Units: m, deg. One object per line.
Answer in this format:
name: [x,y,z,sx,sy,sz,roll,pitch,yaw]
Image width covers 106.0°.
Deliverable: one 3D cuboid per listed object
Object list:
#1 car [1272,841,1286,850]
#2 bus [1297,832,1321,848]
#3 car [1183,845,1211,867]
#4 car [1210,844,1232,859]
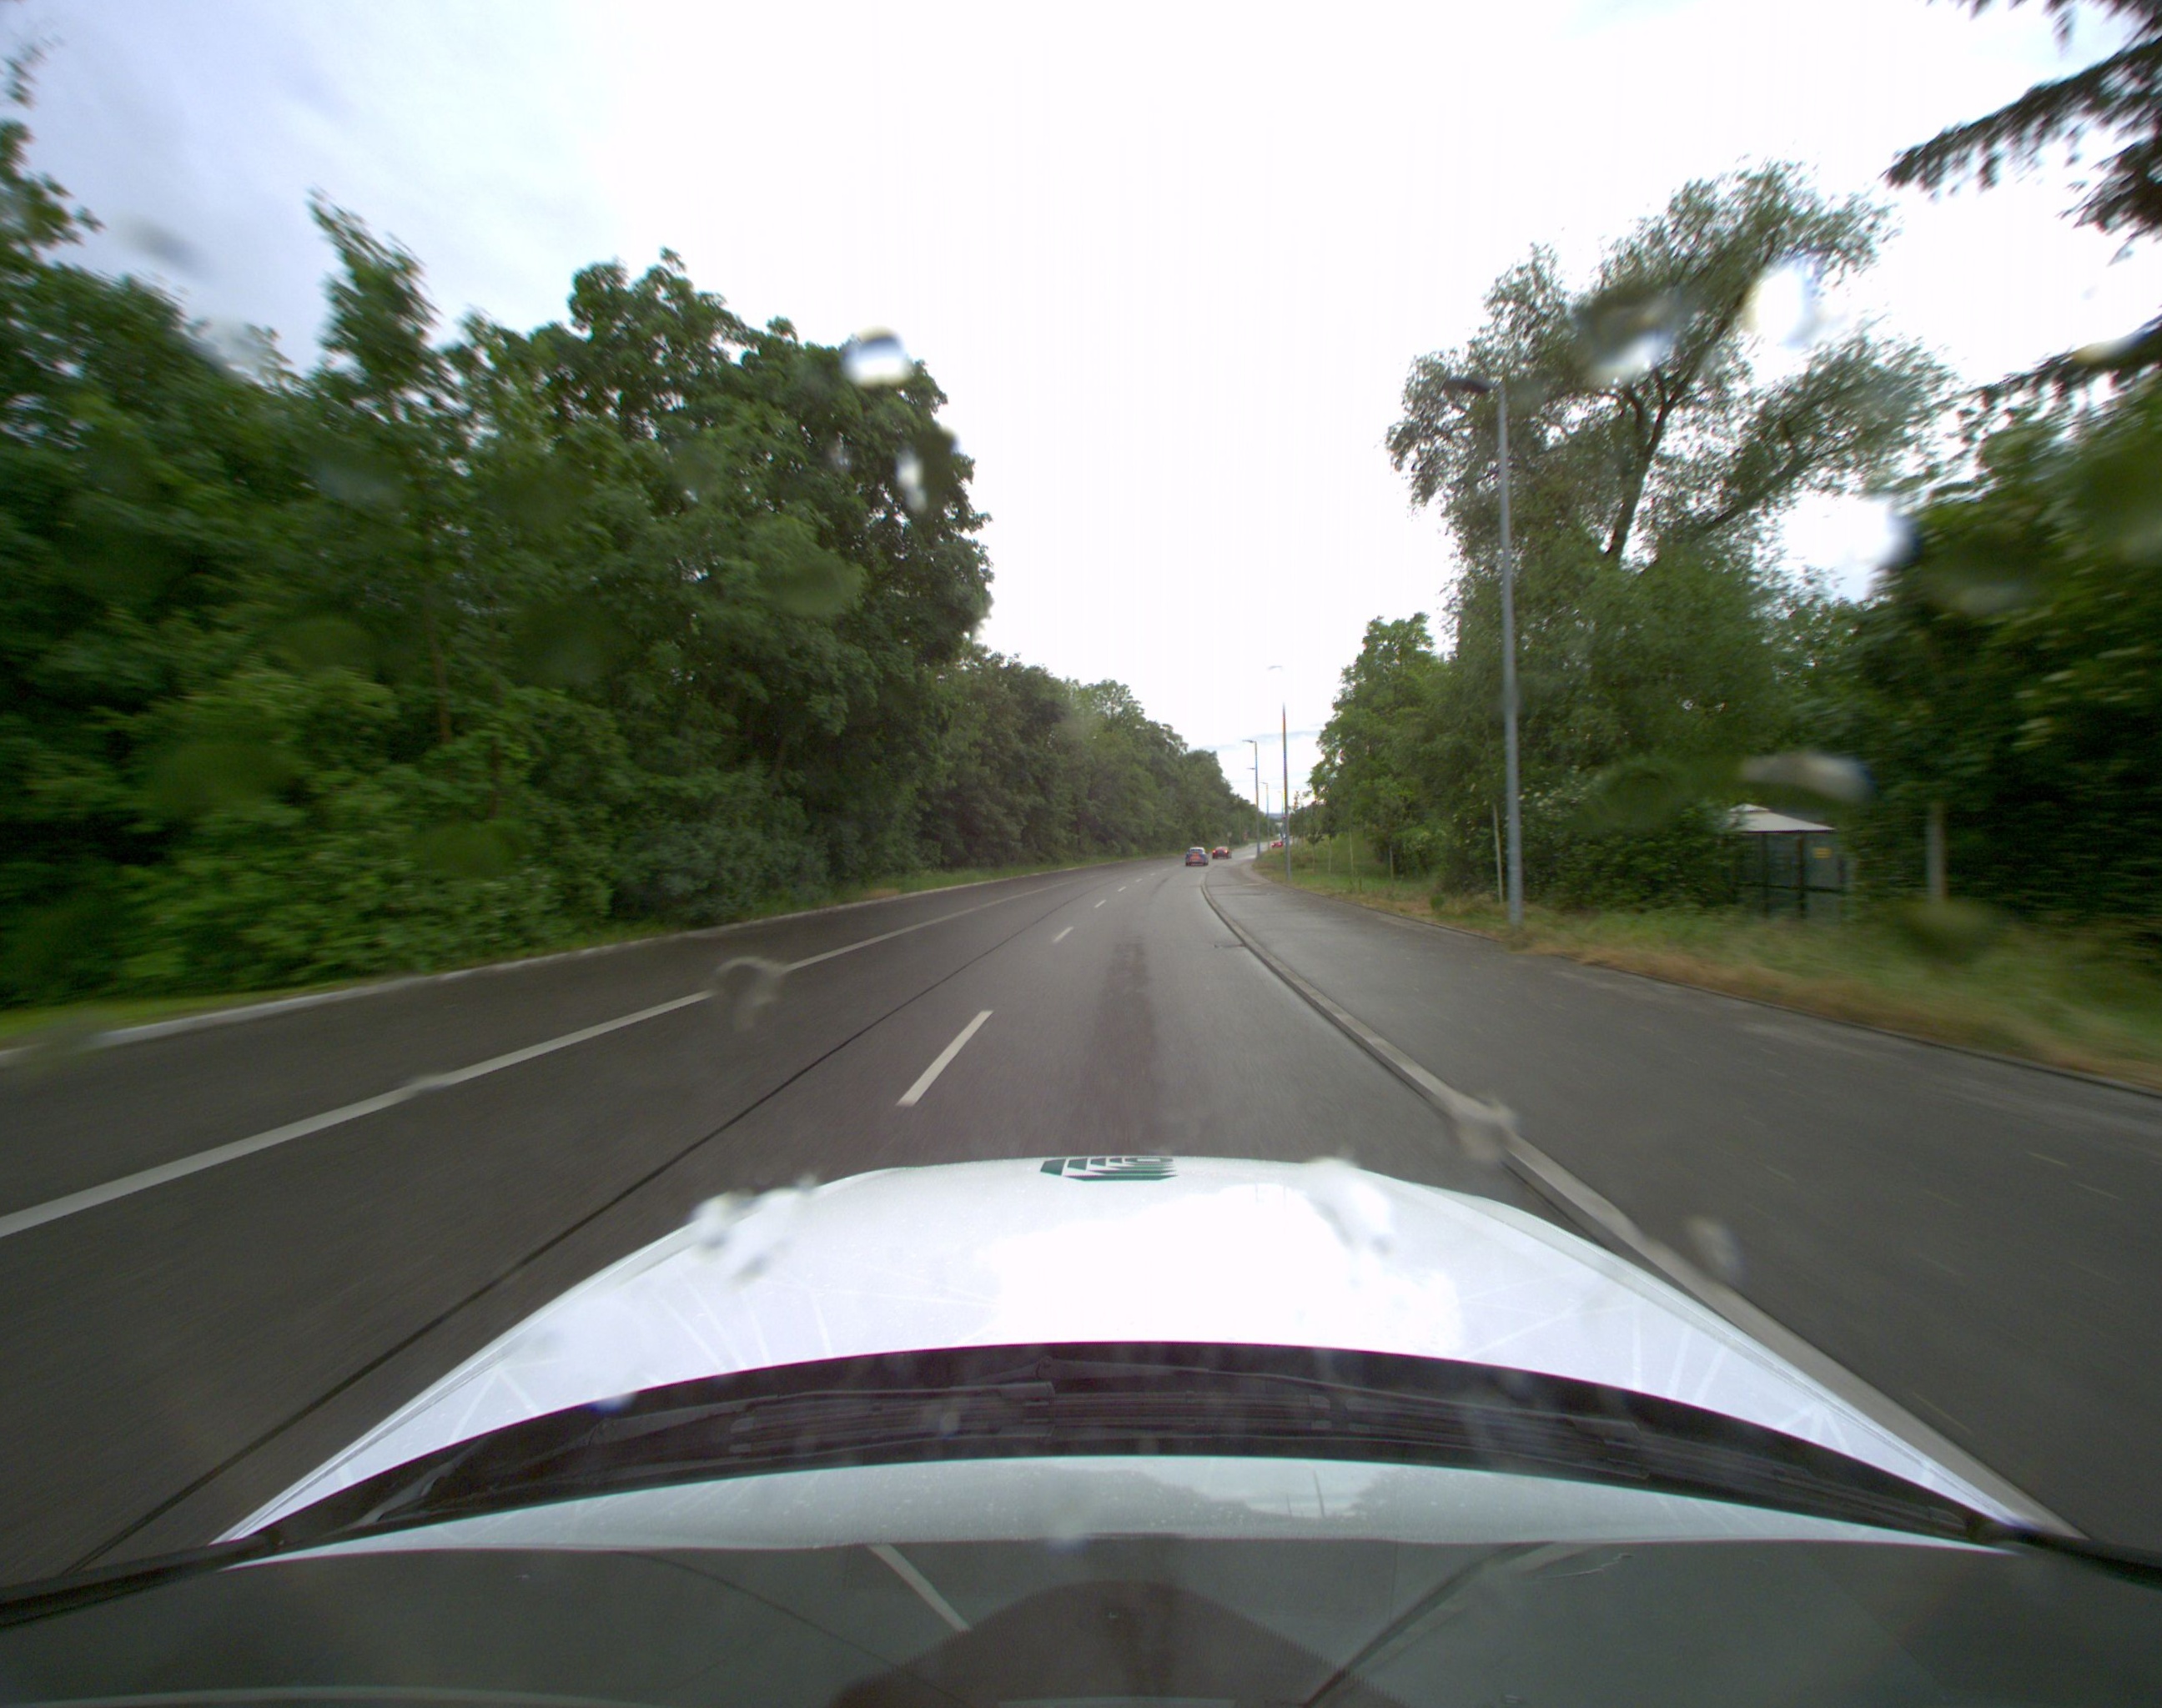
car: [36.162,-1.494,148.589,1.977,1.552,4.020,0,1,20]
bus: [46.952,-2.888,167.426,2.790,3.142,9.237,0,1,29]
car: [10.099,0.163,70.755,1.980,1.689,4.015,-2,2,13]
car: [15.923,-0.338,92.400,1.912,1.486,3.817,-2,2,17]
